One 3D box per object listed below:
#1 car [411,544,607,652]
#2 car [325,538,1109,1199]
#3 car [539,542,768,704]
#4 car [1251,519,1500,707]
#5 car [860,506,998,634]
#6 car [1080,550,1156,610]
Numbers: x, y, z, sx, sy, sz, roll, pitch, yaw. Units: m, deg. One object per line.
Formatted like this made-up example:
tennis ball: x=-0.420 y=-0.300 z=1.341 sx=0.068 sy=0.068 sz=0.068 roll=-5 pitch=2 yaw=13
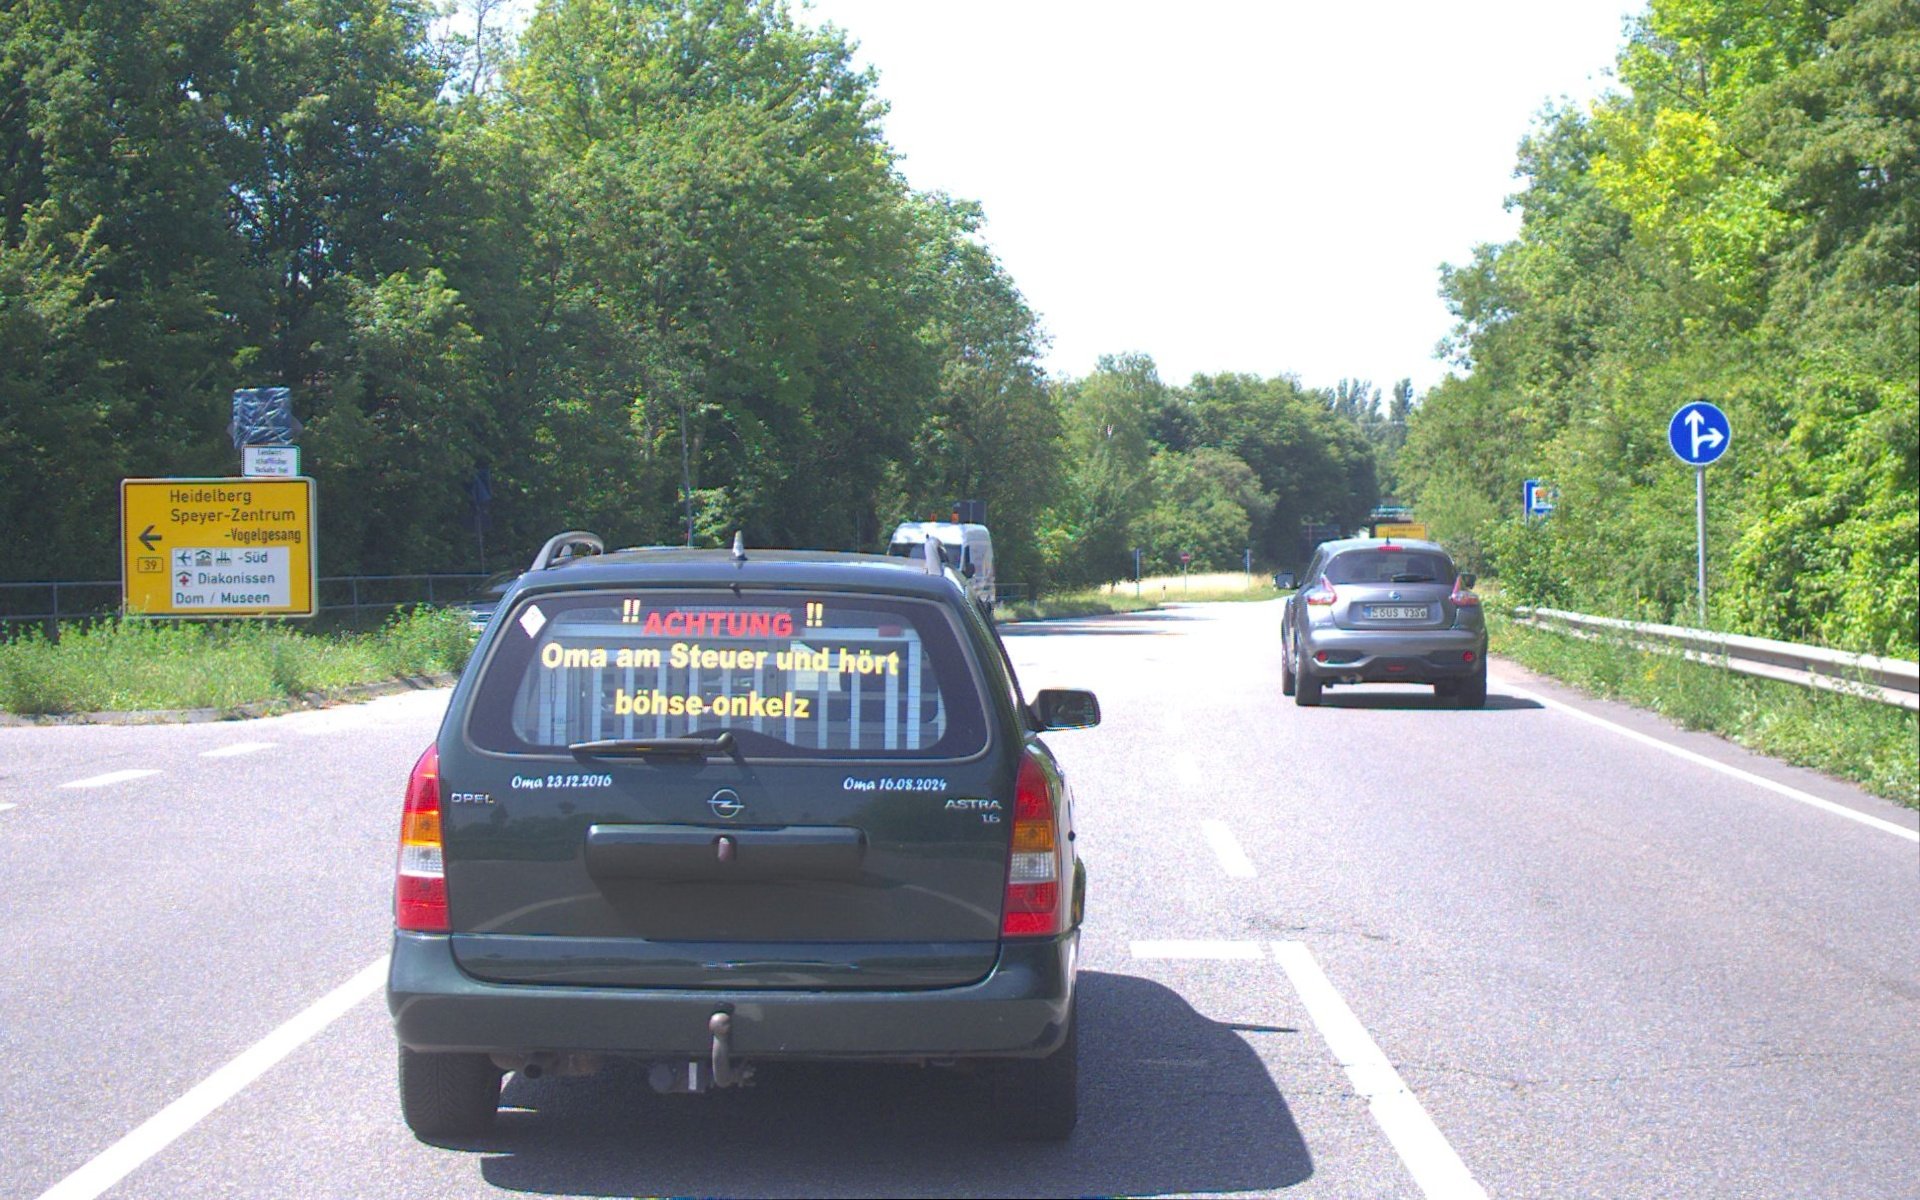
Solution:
car: x=-7.312 y=-0.058 z=56.098 sx=1.673 sy=1.656 sz=3.997 roll=0 pitch=1 yaw=16
car: x=-0.534 y=0.576 z=9.460 sx=1.720 sy=1.452 sz=3.798 roll=0 pitch=2 yaw=0
car: x=-2.803 y=0.175 z=32.090 sx=1.644 sy=1.414 sz=3.766 roll=0 pitch=1 yaw=2
car: x=3.925 y=0.070 z=33.050 sx=1.843 sy=1.679 sz=4.001 roll=0 pitch=2 yaw=-1
car: x=-0.666 y=-0.714 z=79.496 sx=2.106 sy=2.840 sz=6.009 roll=0 pitch=1 yaw=10
car: x=8.572 y=-1.130 z=187.284 sx=1.993 sy=3.215 sz=4.809 roll=-1 pitch=1 yaw=-27
